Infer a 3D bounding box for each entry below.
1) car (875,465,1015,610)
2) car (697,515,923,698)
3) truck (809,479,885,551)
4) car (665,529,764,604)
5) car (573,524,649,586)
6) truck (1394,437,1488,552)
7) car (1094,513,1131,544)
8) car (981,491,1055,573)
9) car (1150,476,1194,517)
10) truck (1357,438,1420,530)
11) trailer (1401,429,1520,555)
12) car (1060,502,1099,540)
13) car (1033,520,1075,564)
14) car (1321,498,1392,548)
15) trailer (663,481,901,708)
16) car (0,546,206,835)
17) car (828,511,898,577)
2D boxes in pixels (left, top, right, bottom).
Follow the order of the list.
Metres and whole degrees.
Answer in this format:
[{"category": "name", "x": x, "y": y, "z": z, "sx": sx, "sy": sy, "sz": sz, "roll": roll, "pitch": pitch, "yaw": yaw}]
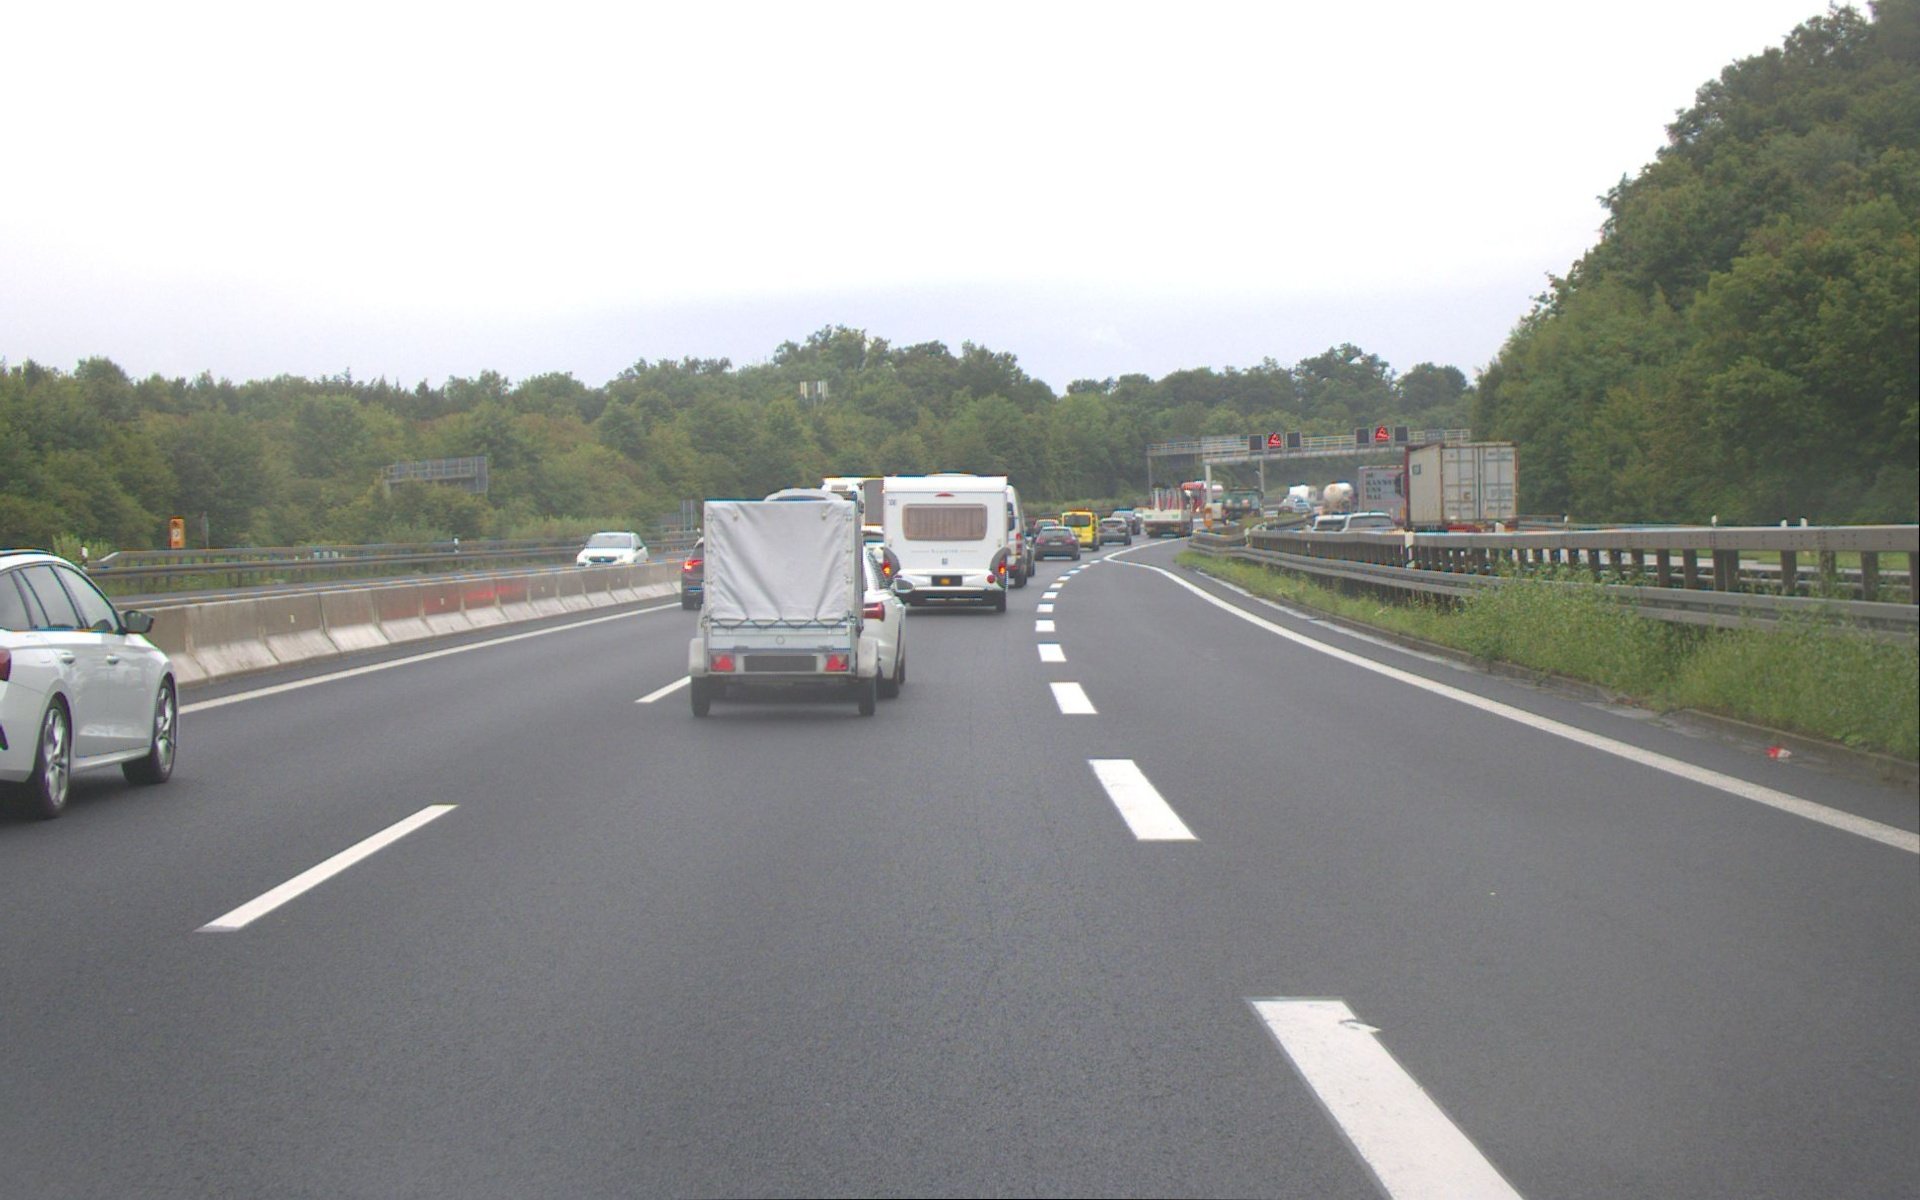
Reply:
[{"category": "car", "x": -0.228, "y": -1.169, "z": 65.246, "sx": 2.507, "sy": 2.576, "sz": 5.699, "roll": -1, "pitch": 1, "yaw": 1}, {"category": "car", "x": -1.369, "y": 0.032, "z": 33.190, "sx": 1.818, "sy": 1.610, "sz": 4.778, "roll": -1, "pitch": 1, "yaw": 2}, {"category": "truck", "x": -6.672, "y": -5.017, "z": 204.939, "sx": 2.788, "sy": 4.078, "sz": 12.296, "roll": -1, "pitch": 1, "yaw": 6}, {"category": "car", "x": -4.926, "y": -0.679, "z": 69.333, "sx": 1.676, "sy": 1.451, "sz": 4.000, "roll": -1, "pitch": 1, "yaw": 0}, {"category": "car", "x": -11.135, "y": -1.444, "z": 109.836, "sx": 1.738, "sy": 1.912, "sz": 4.316, "roll": -1, "pitch": 1, "yaw": 3}, {"category": "truck", "x": 16.776, "y": -3.629, "z": 120.264, "sx": 2.616, "sy": 3.871, "sz": 6.391, "roll": -1, "pitch": 1, "yaw": 3}, {"category": "car", "x": 8.648, "y": -4.042, "z": 194.691, "sx": 2.038, "sy": 1.677, "sz": 4.000, "roll": -1, "pitch": 1, "yaw": 4}, {"category": "car", "x": 1.492, "y": -1.764, "z": 89.552, "sx": 1.675, "sy": 2.060, "sz": 4.000, "roll": -1, "pitch": 1, "yaw": -2}, {"category": "car", "x": 14.246, "y": -6.928, "z": 230.468, "sx": 2.516, "sy": 2.566, "sz": 5.310, "roll": -1, "pitch": 1, "yaw": 8}, {"category": "truck", "x": 23.047, "y": -6.164, "z": 185.175, "sx": 3.216, "sy": 4.650, "sz": 13.029, "roll": -1, "pitch": 1, "yaw": 7}, {"category": "trailer", "x": 16.451, "y": -3.468, "z": 113.799, "sx": 2.604, "sy": 3.881, "sz": 12.490, "roll": -1, "pitch": 1, "yaw": 3}, {"category": "car", "x": 5.985, "y": -3.943, "z": 171.986, "sx": 1.676, "sy": 1.806, "sz": 3.999, "roll": -1, "pitch": 1, "yaw": 5}, {"category": "car", "x": 3.946, "y": -2.408, "z": 143.418, "sx": 1.676, "sy": 1.806, "sz": 4.000, "roll": -1, "pitch": 1, "yaw": 2}, {"category": "car", "x": 11.866, "y": -2.299, "z": 103.120, "sx": 1.667, "sy": 1.378, "sz": 4.126, "roll": -3, "pitch": 1, "yaw": 1}, {"category": "trailer", "x": -1.469, "y": -0.066, "z": 29.677, "sx": 1.676, "sy": 1.806, "sz": 4.000, "roll": -1, "pitch": 1, "yaw": 2}, {"category": "car", "x": -5.721, "y": 0.441, "z": 19.610, "sx": 1.818, "sy": 1.451, "sz": 4.778, "roll": -1, "pitch": 1, "yaw": -1}, {"category": "car", "x": -2.885, "y": -1.658, "z": 102.933, "sx": 1.993, "sy": 1.912, "sz": 4.000, "roll": -1, "pitch": 1, "yaw": -1}]
